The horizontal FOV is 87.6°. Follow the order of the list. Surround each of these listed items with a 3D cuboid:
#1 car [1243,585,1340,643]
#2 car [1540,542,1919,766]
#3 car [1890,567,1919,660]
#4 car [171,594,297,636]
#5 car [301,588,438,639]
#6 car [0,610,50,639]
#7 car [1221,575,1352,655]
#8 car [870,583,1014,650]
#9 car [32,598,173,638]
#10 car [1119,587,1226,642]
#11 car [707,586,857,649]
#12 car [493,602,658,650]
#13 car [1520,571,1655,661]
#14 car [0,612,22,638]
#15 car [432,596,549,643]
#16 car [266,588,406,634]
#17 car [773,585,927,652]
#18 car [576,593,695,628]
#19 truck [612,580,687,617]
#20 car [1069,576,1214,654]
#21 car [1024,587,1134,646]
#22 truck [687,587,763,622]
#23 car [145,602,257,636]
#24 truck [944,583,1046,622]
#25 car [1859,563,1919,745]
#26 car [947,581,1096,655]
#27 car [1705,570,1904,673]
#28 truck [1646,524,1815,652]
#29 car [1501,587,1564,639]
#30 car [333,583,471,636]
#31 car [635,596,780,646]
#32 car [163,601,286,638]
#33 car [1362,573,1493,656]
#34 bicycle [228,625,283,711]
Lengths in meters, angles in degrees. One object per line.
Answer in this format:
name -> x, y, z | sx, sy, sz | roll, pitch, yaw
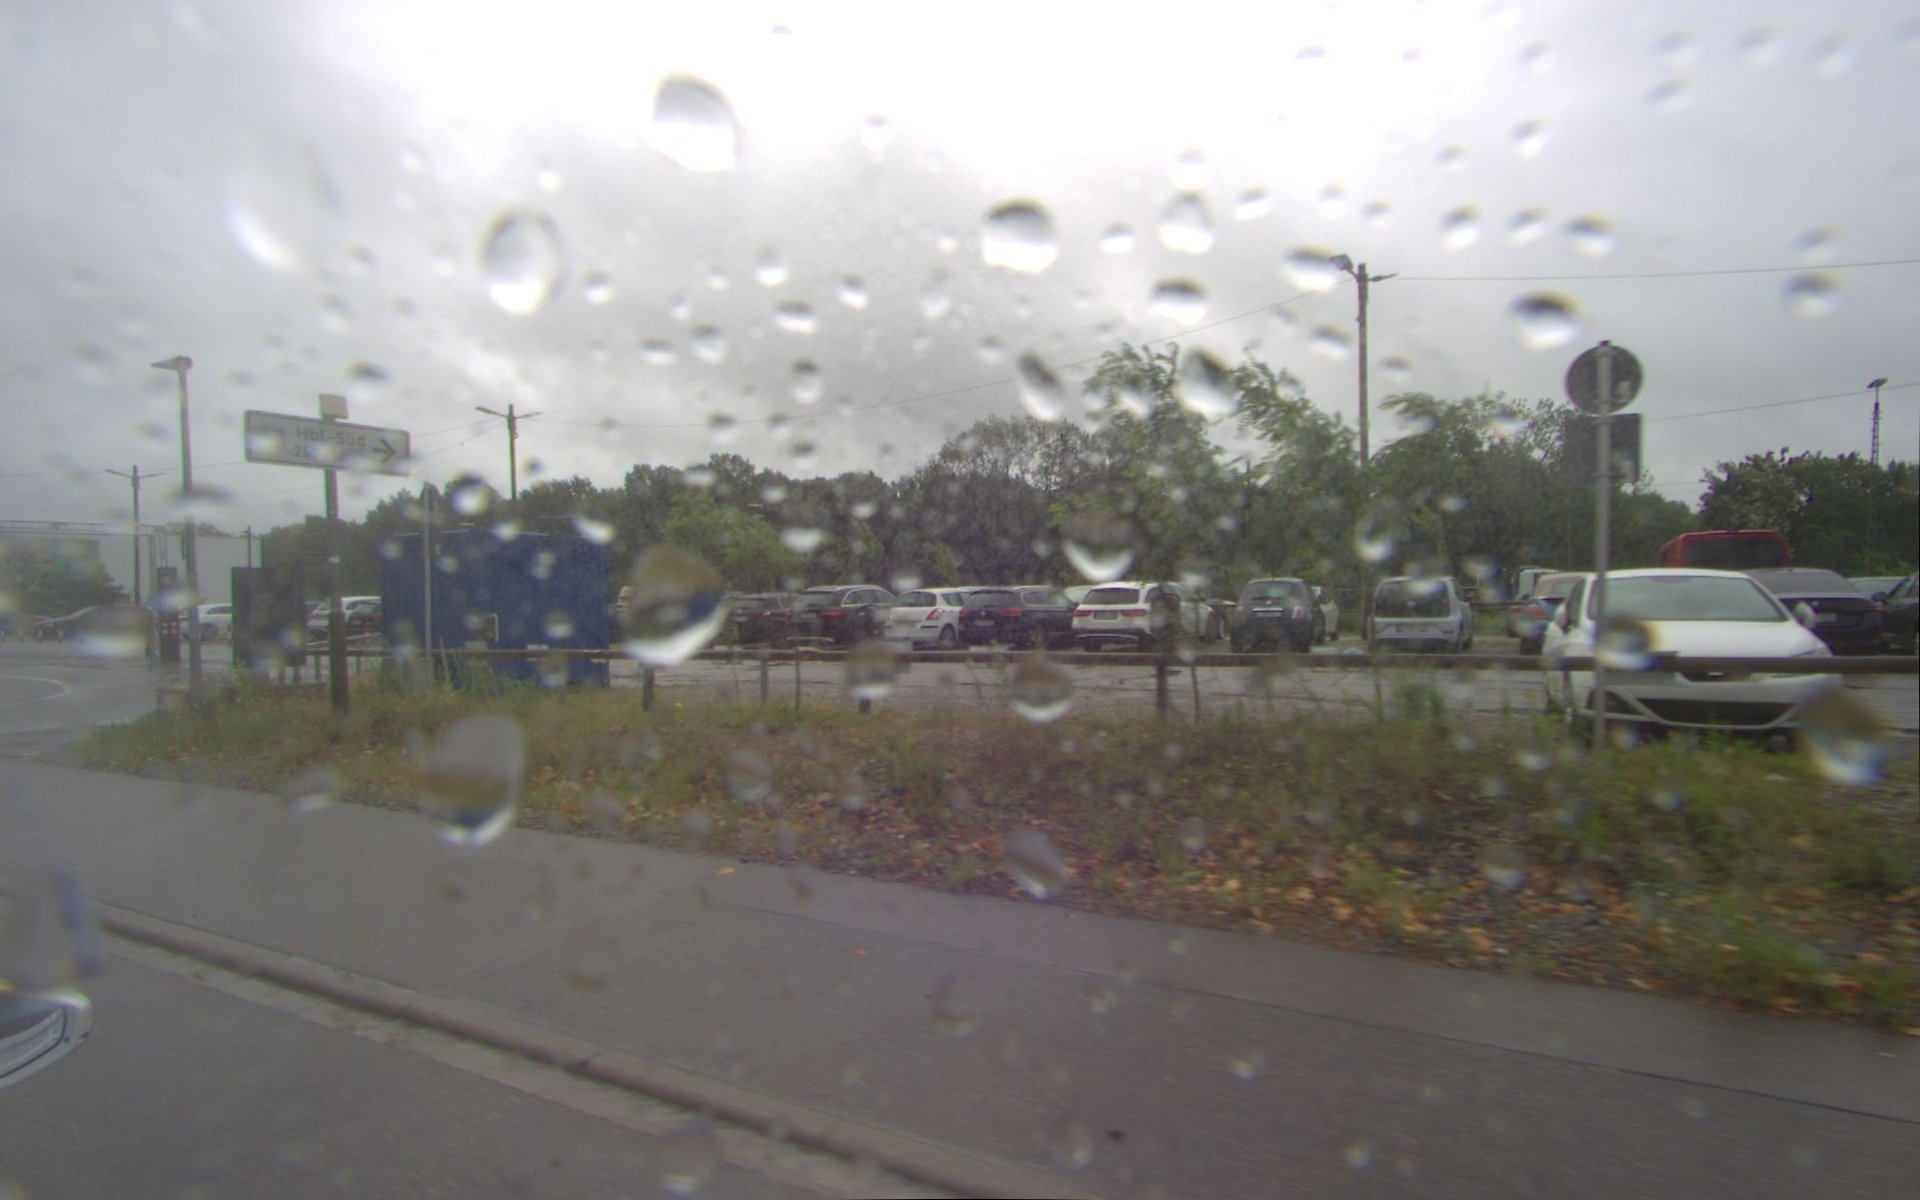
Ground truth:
car -> 8.598, 0.308, 25.779 | 1.651, 1.338, 3.981 | -1, 1, 29
car -> 6.085, 0.401, 8.410 | 1.876, 1.411, 3.769 | -2, -2, 27
car -> 15.661, 0.204, 14.943 | 1.860, 1.446, 3.943 | -2, 1, 32
car -> -30.344, 0.620, 41.948 | 1.901, 1.504, 3.819 | -2, 1, 33
car -> -21.512, 0.469, 36.634 | 1.761, 1.605, 3.892 | -2, 1, 33
car -> -50.721, 1.299, 52.582 | 1.971, 1.504, 3.981 | -2, -2, 31
car -> 7.019, 0.271, 21.269 | 1.753, 1.510, 3.943 | -2, 1, 32
car -> -0.365, 0.379, 25.341 | 1.753, 1.510, 3.943 | -2, 1, 32
car -> -40.194, 0.870, 47.065 | 1.986, 1.738, 4.621 | -2, -2, 24
car -> 5.837, 0.340, 27.136 | 1.652, 1.338, 3.979 | -1, 1, 31
car -> -4.764, 0.443, 27.290 | 1.843, 1.510, 3.943 | -2, 1, 32
car -> -11.723, 0.766, 30.862 | 1.949, 1.237, 4.581 | -2, 0, 29
car -> 11.358, 0.233, 18.214 | 1.860, 1.446, 3.943 | -2, 1, 32
car -> -53.314, 1.367, 53.727 | 1.971, 1.427, 3.981 | -2, -2, 31
car -> -19.320, 0.789, 41.345 | 1.804, 1.681, 4.055 | -2, 1, 28
car -> -23.606, 0.380, 37.991 | 1.901, 1.504, 4.034 | -2, 1, 33
car -> -2.717, 0.430, 25.616 | 1.843, 1.510, 3.943 | -2, 1, 32
car -> -11.909, 0.359, 36.981 | 1.804, 1.086, 4.055 | -2, 1, 28
truck -> -21.299, -0.116, 68.733 | 5.007, 2.434, 2.069 | 0, 1, 30
car -> 4.028, 0.286, 21.770 | 1.753, 1.510, 3.943 | -2, 1, 32
car -> 3.452, 0.433, 28.469 | 1.651, 1.513, 3.980 | -1, 1, 30
truck -> -15.335, 0.285, 65.261 | 5.015, 2.167, 2.066 | 0, 1, 35
car -> -41.870, 1.038, 55.359 | 2.013, 1.627, 4.433 | -2, 1, 29
truck -> 1.854, 0.129, 54.126 | 5.202, 2.041, 2.077 | 0, 1, 32
car -> 8.127, 0.392, 6.926 | 1.876, 1.441, 3.894 | -2, -2, 27
car -> 1.510, 0.369, 23.186 | 1.753, 1.510, 3.943 | -2, 1, 32
car -> 13.406, 0.279, 16.149 | 1.860, 1.446, 3.943 | -2, 1, 32
truck -> 16.356, -0.235, 21.565 | 2.120, 2.399, 5.281 | 0, 1, 29
car -> 18.652, 0.387, 32.562 | 1.609, 1.561, 3.885 | 0, 1, 32
car -> -19.308, 0.304, 34.779 | 1.761, 1.605, 3.764 | -2, 1, 33
car -> -7.085, 0.564, 28.446 | 1.626, 1.237, 3.875 | -2, 1, 35
car -> -38.097, 0.990, 51.978 | 2.013, 1.627, 4.694 | -2, 1, 29
car -> 9.247, 0.233, 19.620 | 1.860, 1.446, 3.943 | -2, 1, 32
bicycle -> -9.907, 0.920, 14.064 | 0.502, 1.098, 1.689 | -1, 1, -39
